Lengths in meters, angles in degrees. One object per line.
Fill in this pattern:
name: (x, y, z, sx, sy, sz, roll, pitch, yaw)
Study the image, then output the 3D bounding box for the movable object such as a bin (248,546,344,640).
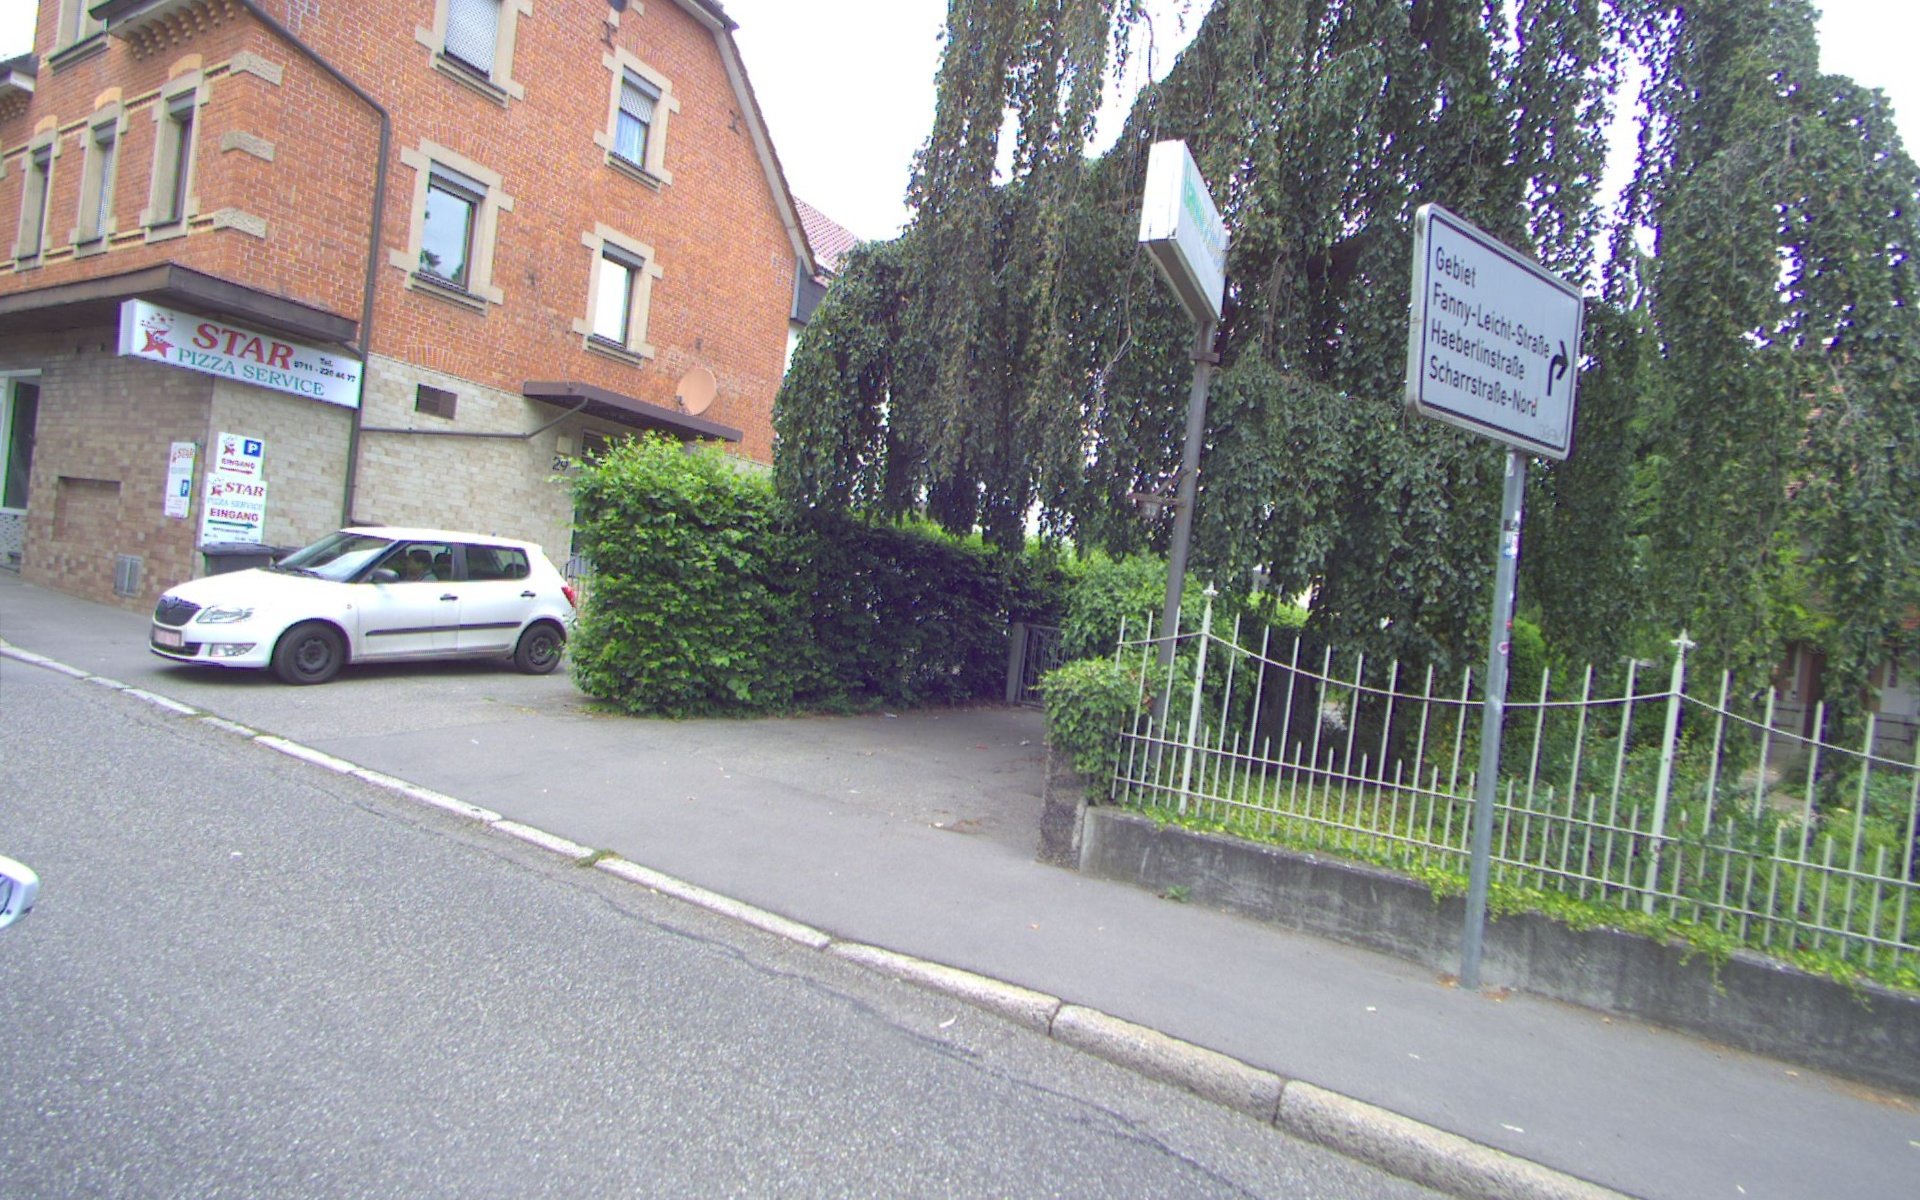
movable object such as a bin: (-8.252, -0.083, 12.511, 0.711, 1.073, 0.699, 7, 2, 31)

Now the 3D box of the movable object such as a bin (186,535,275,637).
movable object such as a bin: (-8.583, -0.159, 11.843, 0.612, 1.115, 0.607, 7, 2, 31)

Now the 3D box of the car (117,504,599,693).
car: (-5.942, -0.038, 10.460, 1.574, 1.490, 4.029, 7, 3, 29)
